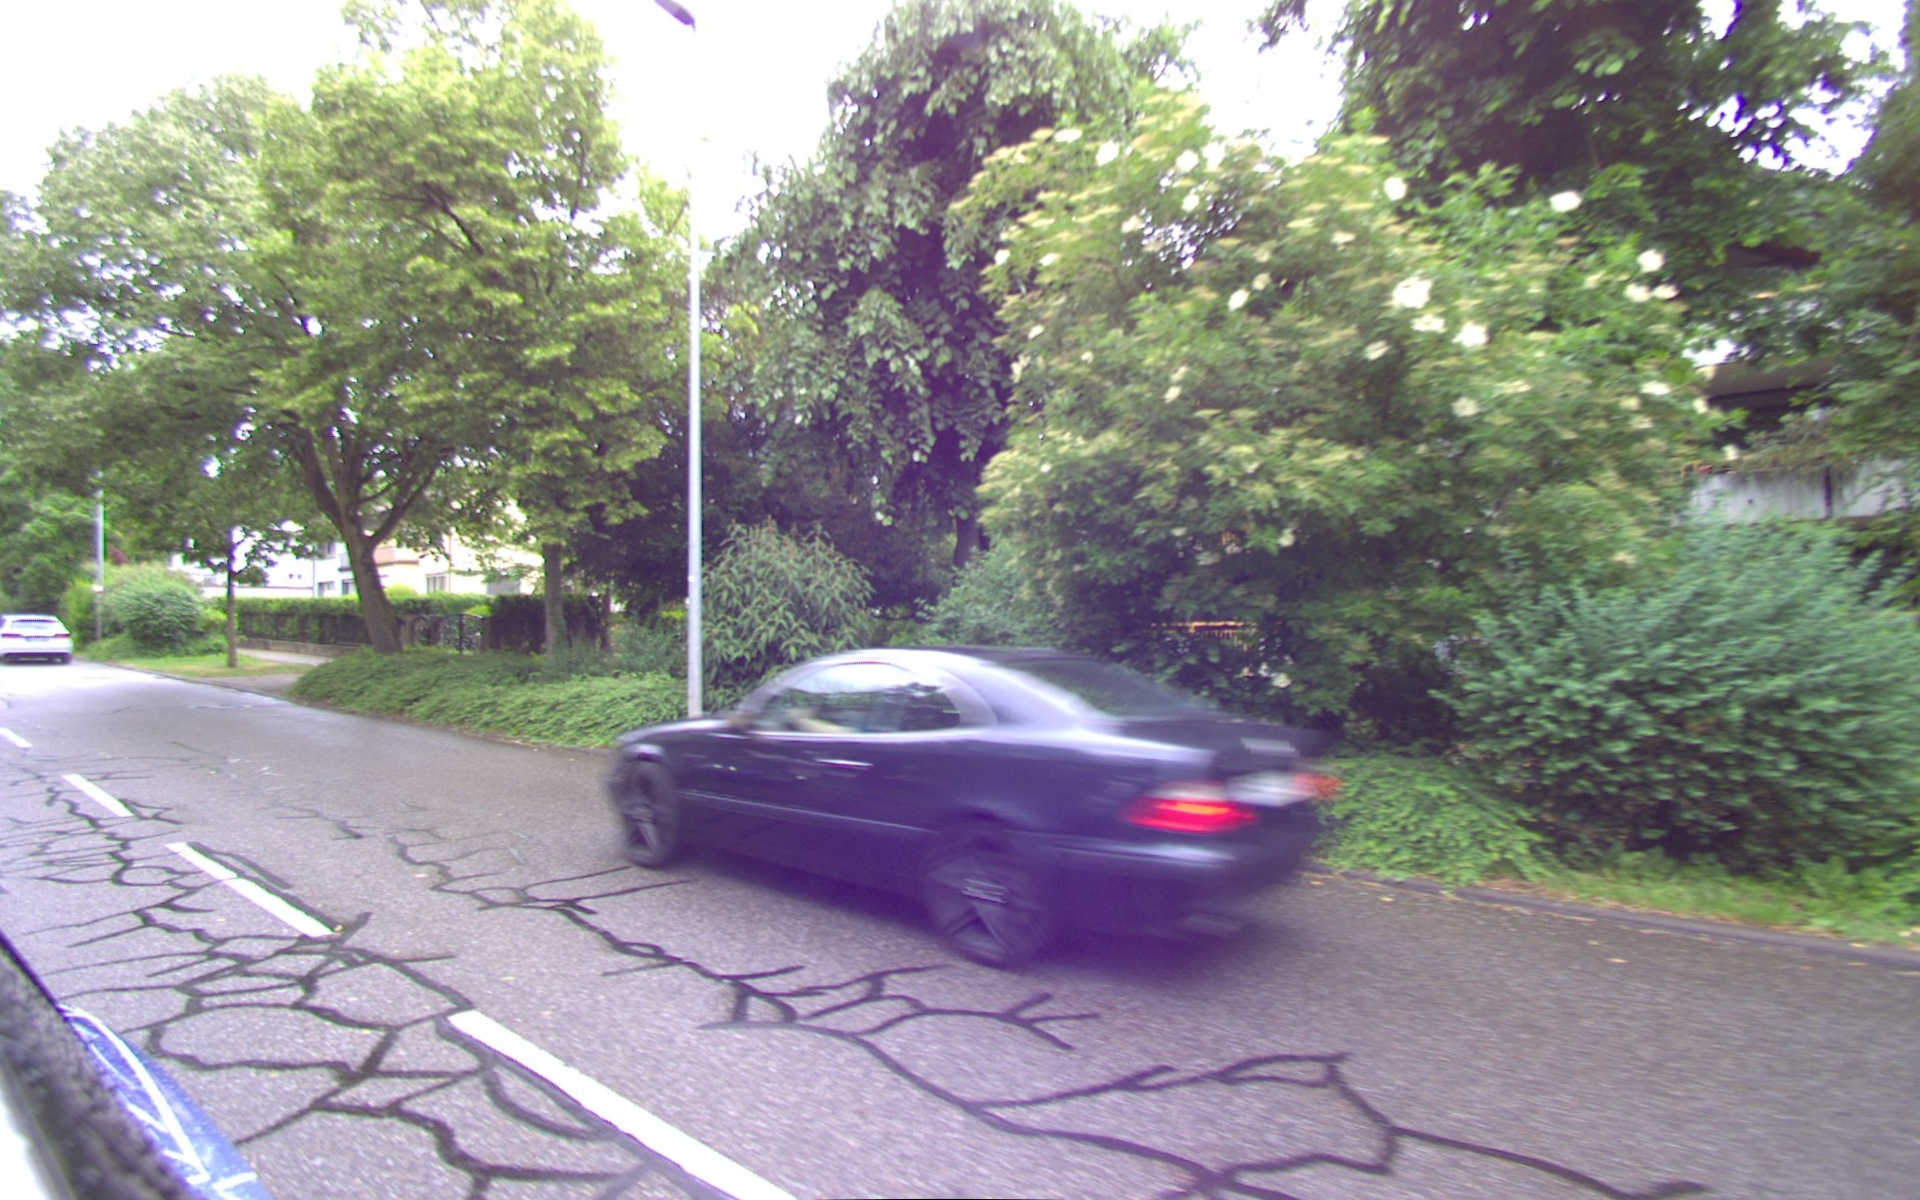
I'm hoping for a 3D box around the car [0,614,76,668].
[{"bbox_3d":[-28.139,1.188,30.341,4.063,1.490,1.803,0,-2,39],"label":"car"}]

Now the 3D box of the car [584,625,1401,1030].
[{"bbox_3d":[-0.109,0.852,5.590,4.374,1.359,1.747,-1,-3,40],"label":"car"}]
